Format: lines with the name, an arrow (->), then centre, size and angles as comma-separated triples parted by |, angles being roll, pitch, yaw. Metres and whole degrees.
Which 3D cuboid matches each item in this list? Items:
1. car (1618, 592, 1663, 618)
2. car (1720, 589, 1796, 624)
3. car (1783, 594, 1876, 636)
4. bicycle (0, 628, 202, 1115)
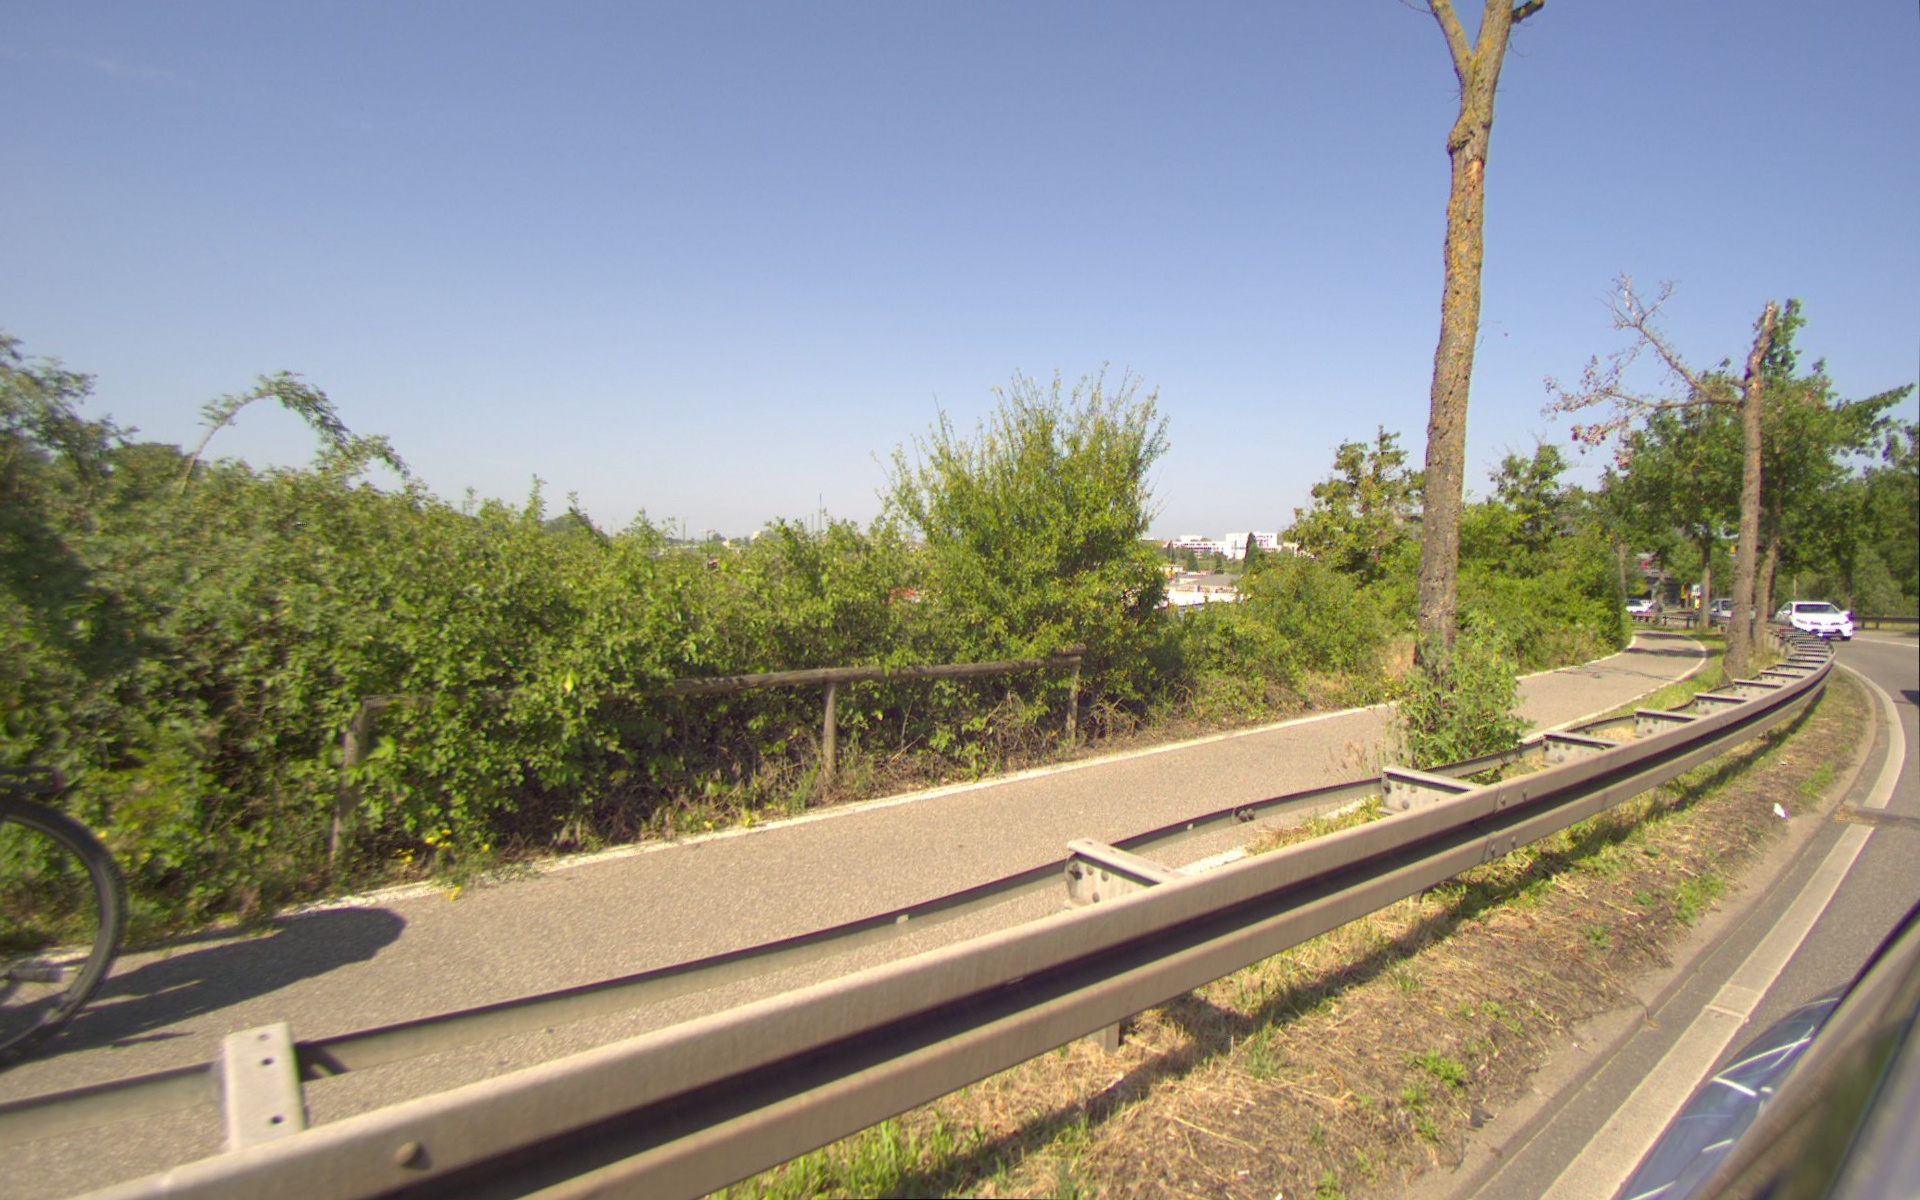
car -> 49.460, 0.347, 73.622 | 1.977, 1.790, 3.969 | 0, 0, 23
car -> 39.357, 0.292, 50.045 | 1.978, 1.605, 3.968 | 1, 1, 24
car -> 33.112, 0.526, 38.664 | 1.830, 1.507, 4.110 | 1, 0, 28
bicycle -> -2.802, 0.641, 2.174 | 1.815, 1.032, 0.703 | -1, 5, -44
